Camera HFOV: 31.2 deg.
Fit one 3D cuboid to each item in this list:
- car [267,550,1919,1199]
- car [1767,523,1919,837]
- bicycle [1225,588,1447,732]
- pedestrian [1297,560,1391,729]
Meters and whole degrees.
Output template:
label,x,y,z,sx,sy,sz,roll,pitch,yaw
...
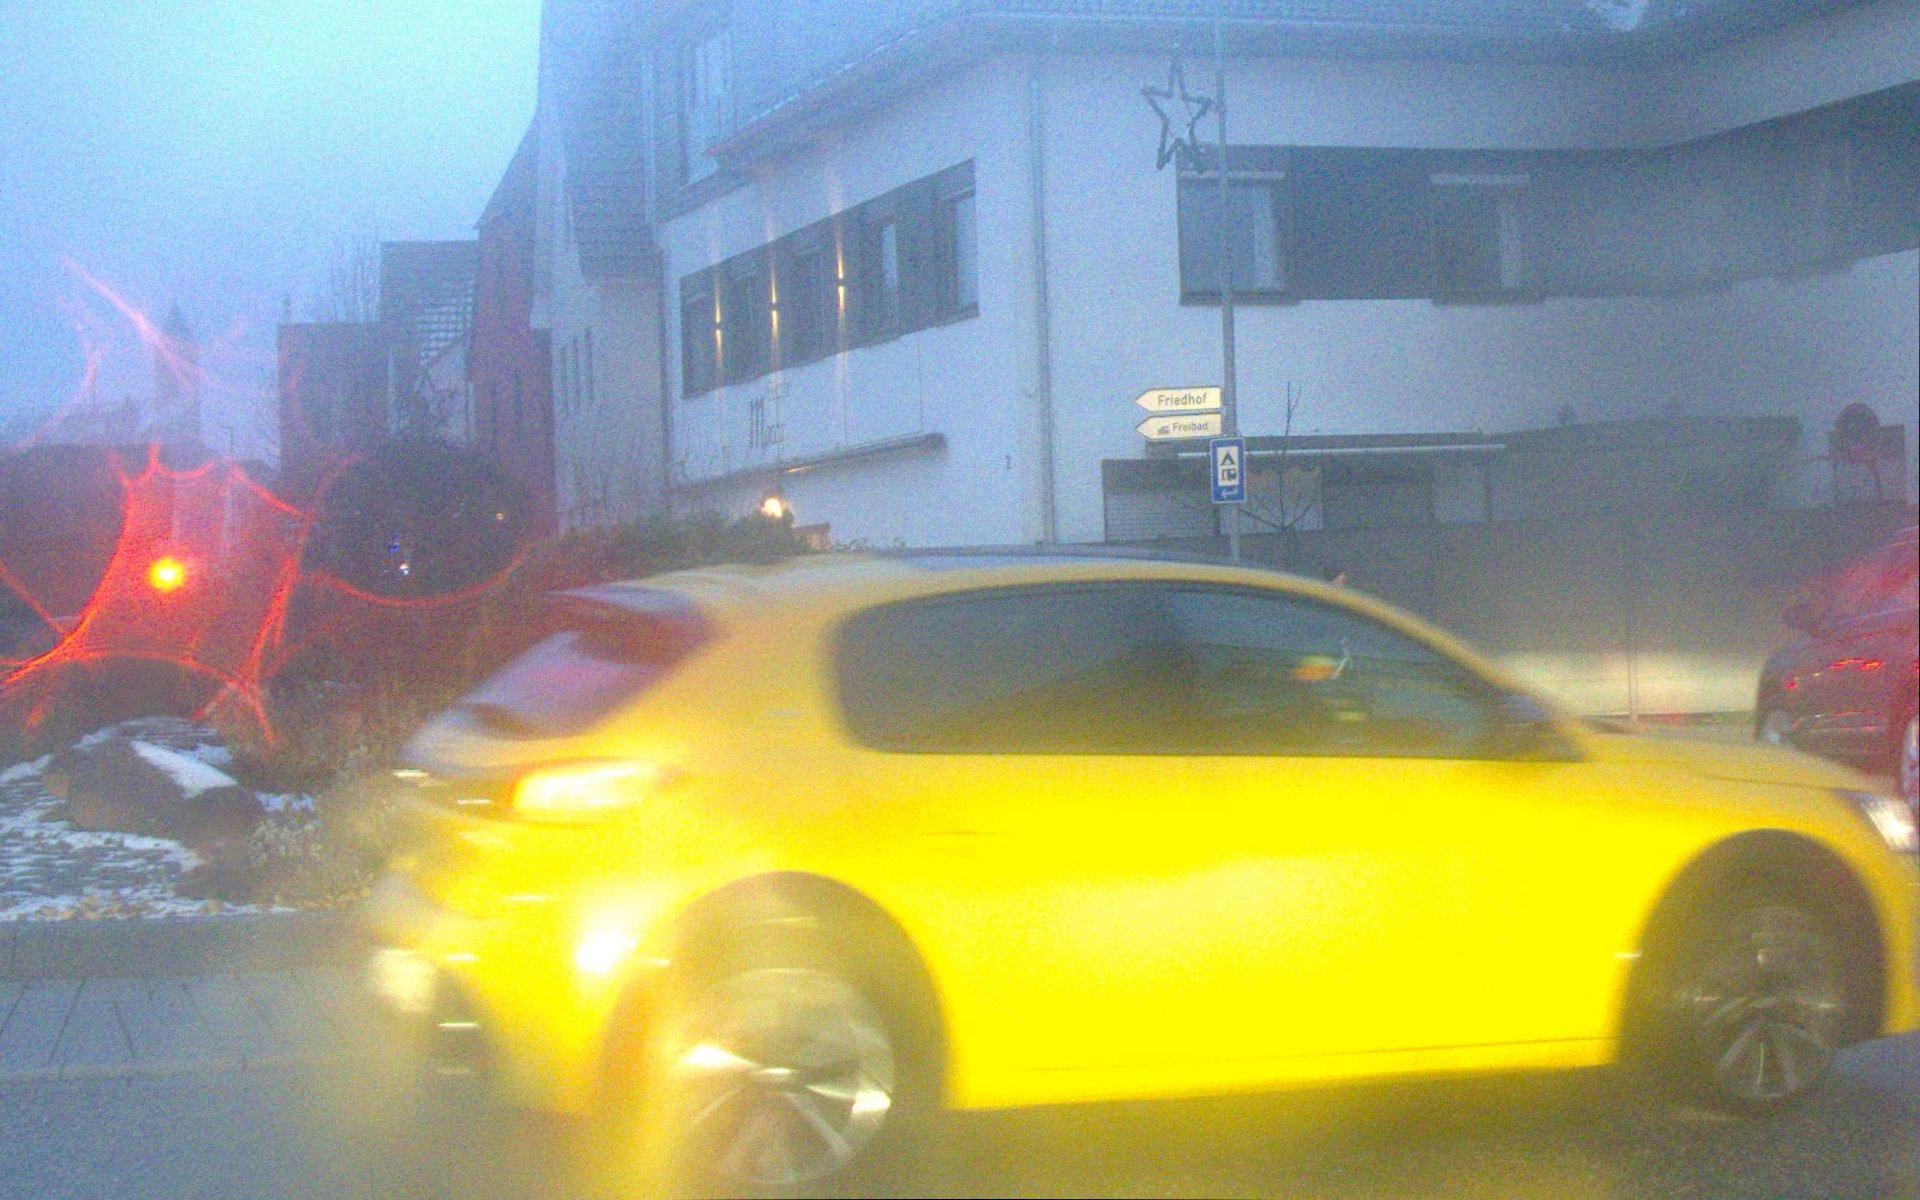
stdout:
label,x,y,z,sx,sy,sz,roll,pitch,yaw
car,0.414,0.595,8.581,3.998,1.417,1.716,-1,1,-19
car,5.924,0.409,19.364,1.916,1.610,3.950,-1,-1,2
bicycle,3.485,0.556,31.890,1.939,1.291,0.551,-1,2,26
pedestrian,3.613,0.419,32.323,0.690,1.559,0.609,-1,1,25
